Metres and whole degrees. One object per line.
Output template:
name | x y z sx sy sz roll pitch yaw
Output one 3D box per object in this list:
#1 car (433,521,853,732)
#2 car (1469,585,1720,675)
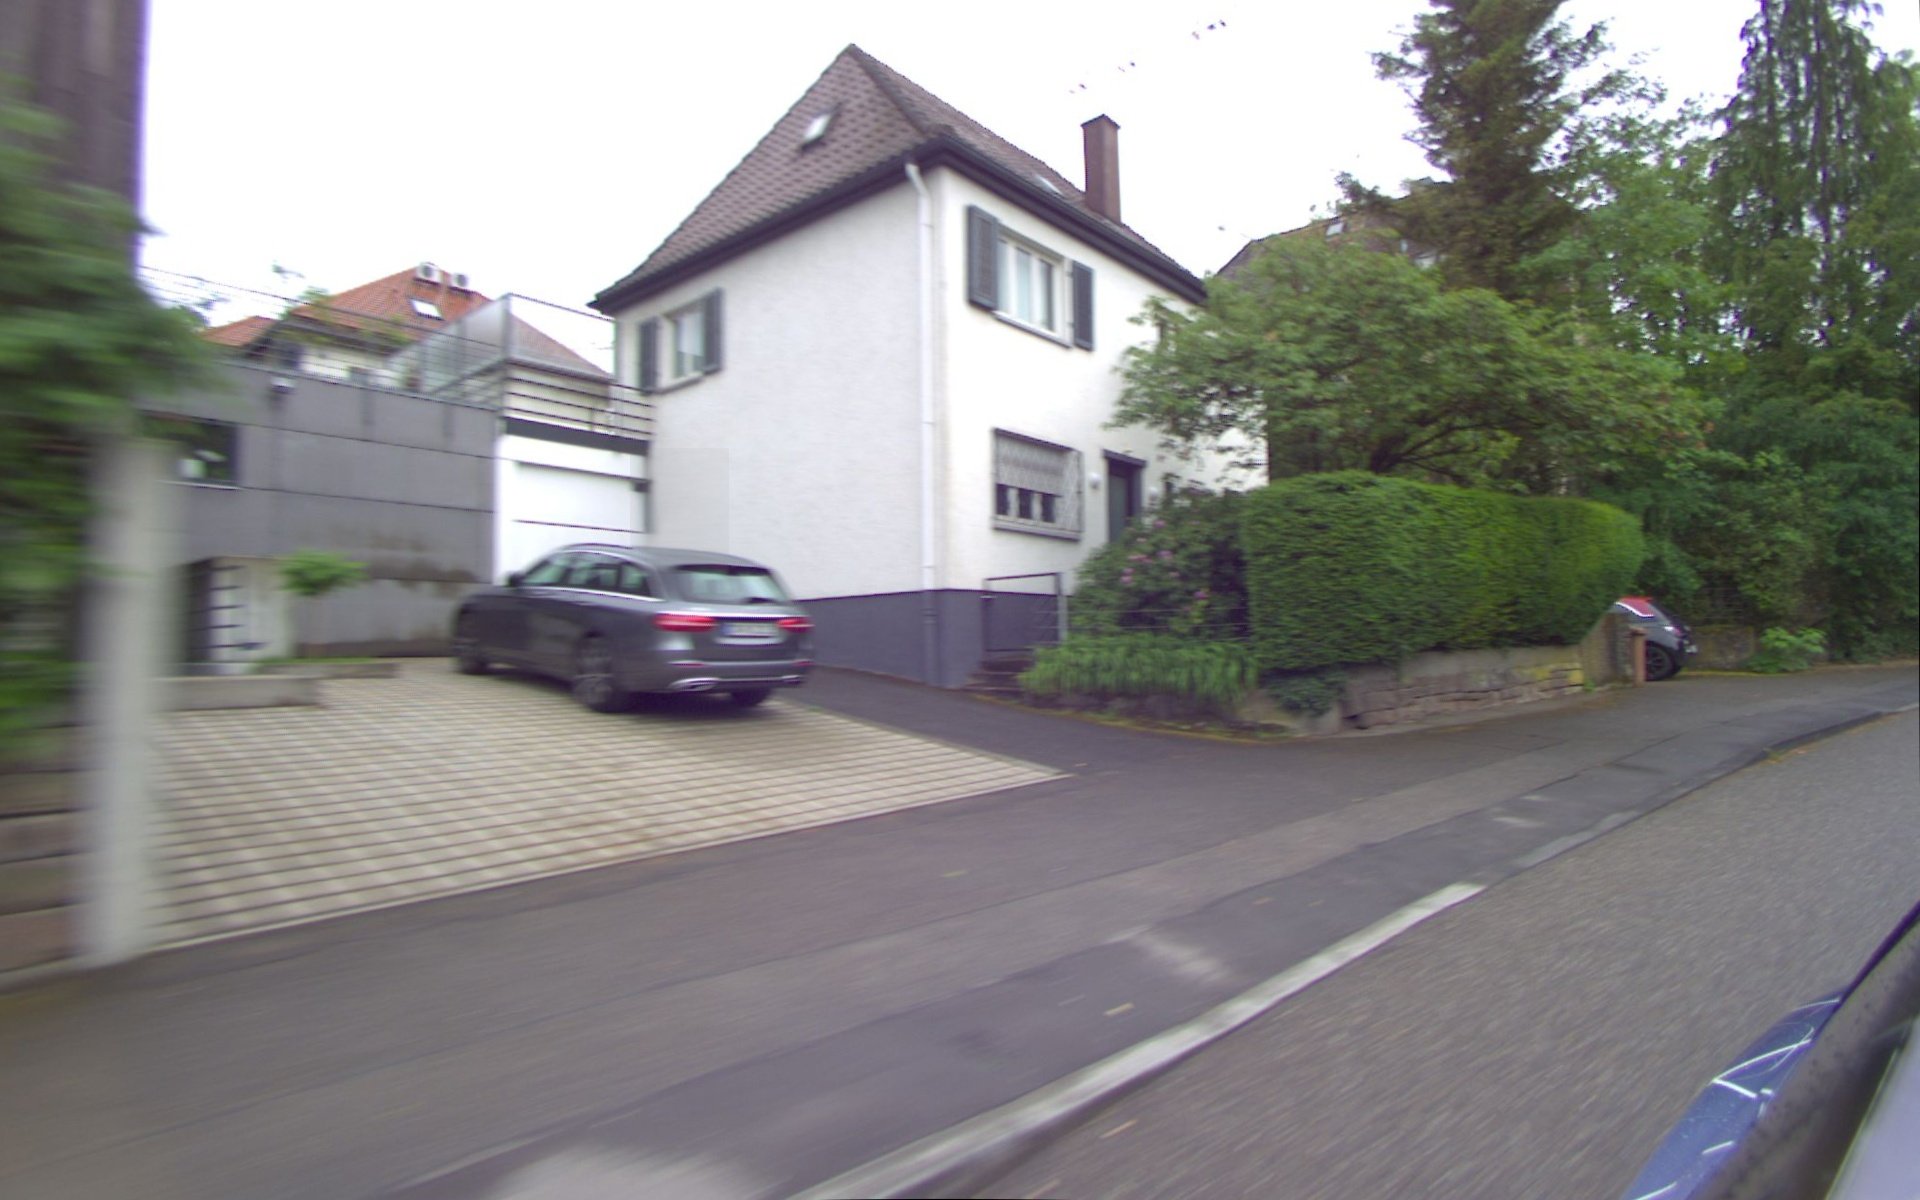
car | -3.404 0.116 10.301 4.635 1.541 1.969 6 2 42
car | 11.281 0.584 18.168 1.402 1.431 3.482 0 -4 -40
